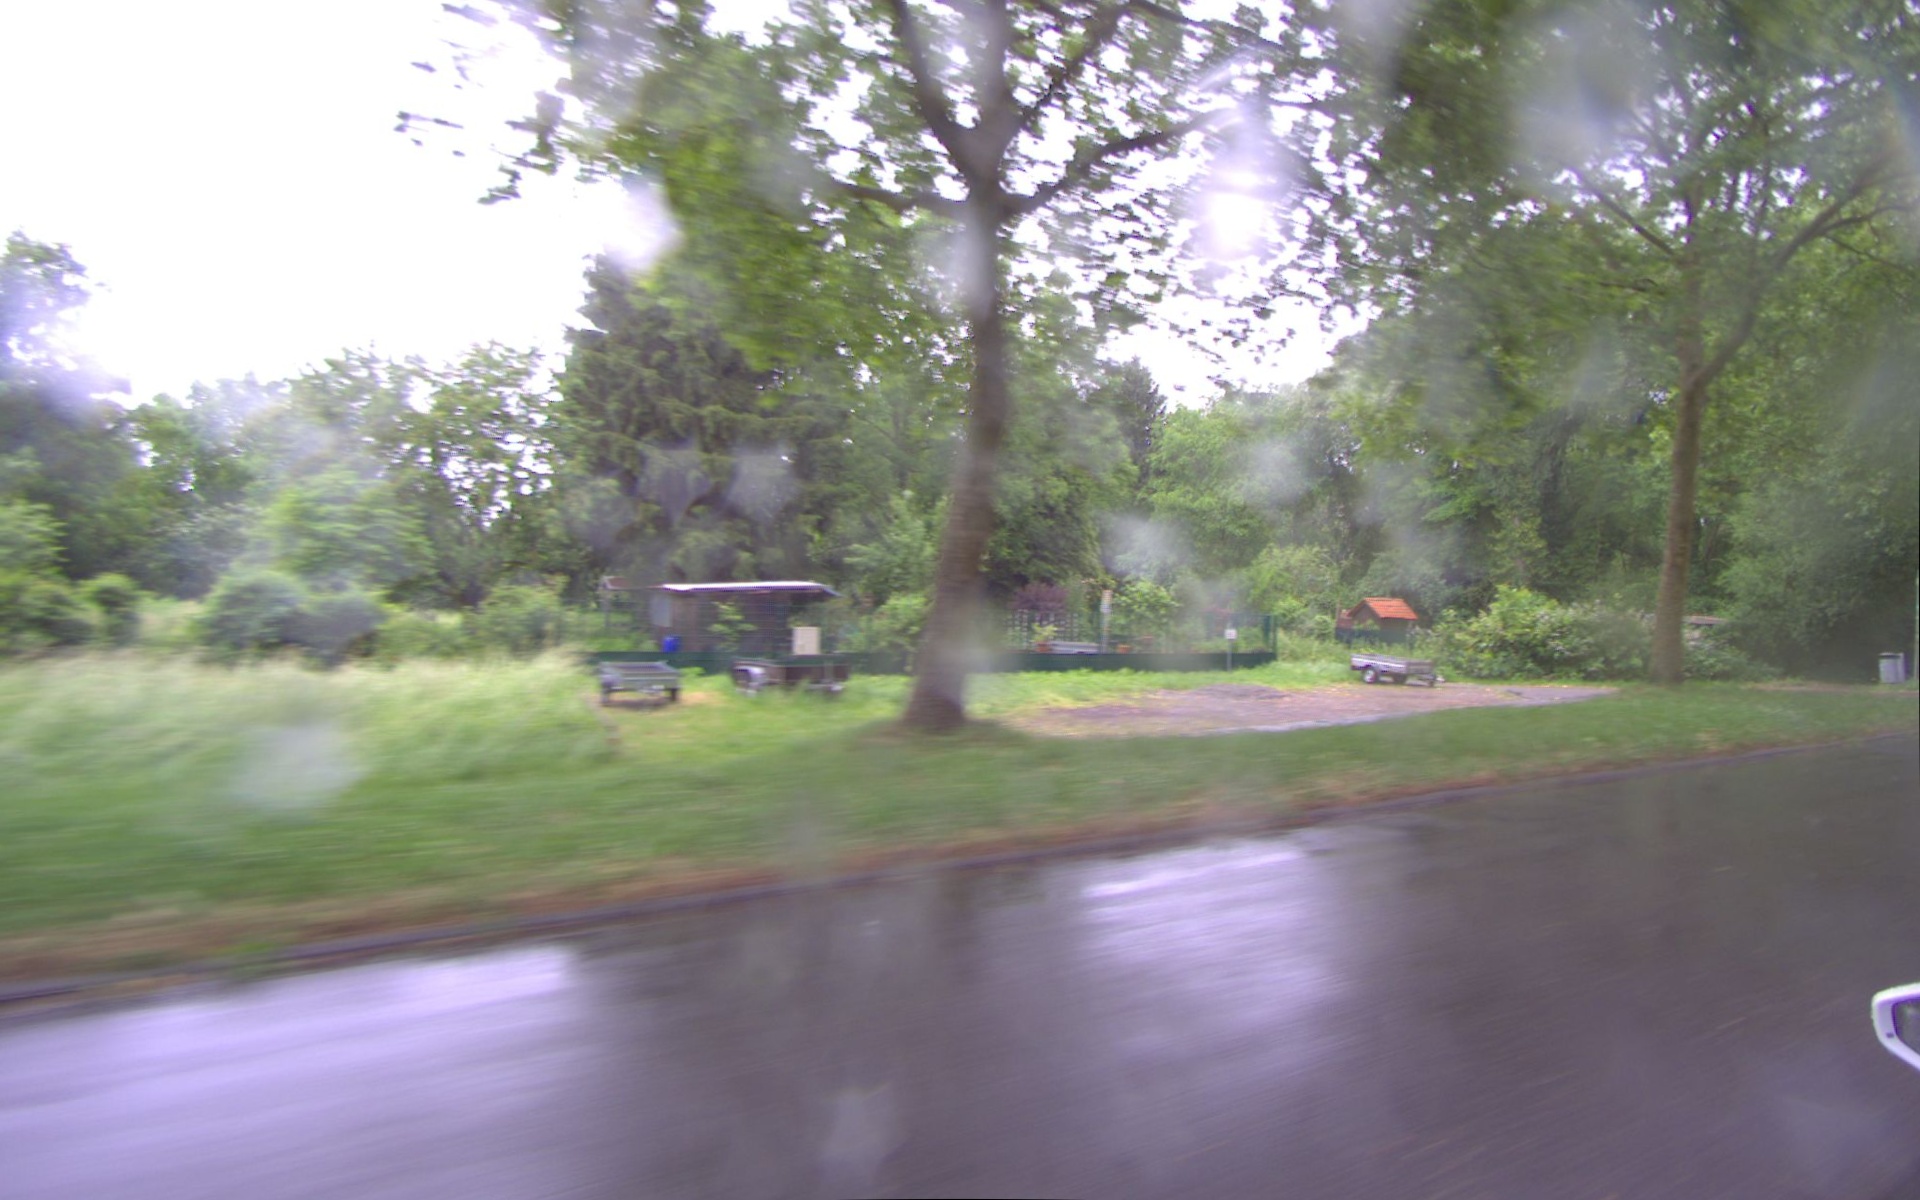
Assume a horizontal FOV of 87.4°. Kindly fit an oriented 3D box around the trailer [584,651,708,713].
[{"bbox_3d":[-6.333,1.580,20.072,1.748,0.957,3.060,2,0,-30],"label":"trailer"}]

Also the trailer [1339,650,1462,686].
[{"bbox_3d":[13.169,2.008,30.146,1.657,0.849,3.017,2,0,-27],"label":"trailer"}]

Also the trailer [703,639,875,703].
[{"bbox_3d":[-3.909,1.503,22.346,2.355,1.046,4.294,2,0,-31],"label":"trailer"}]
